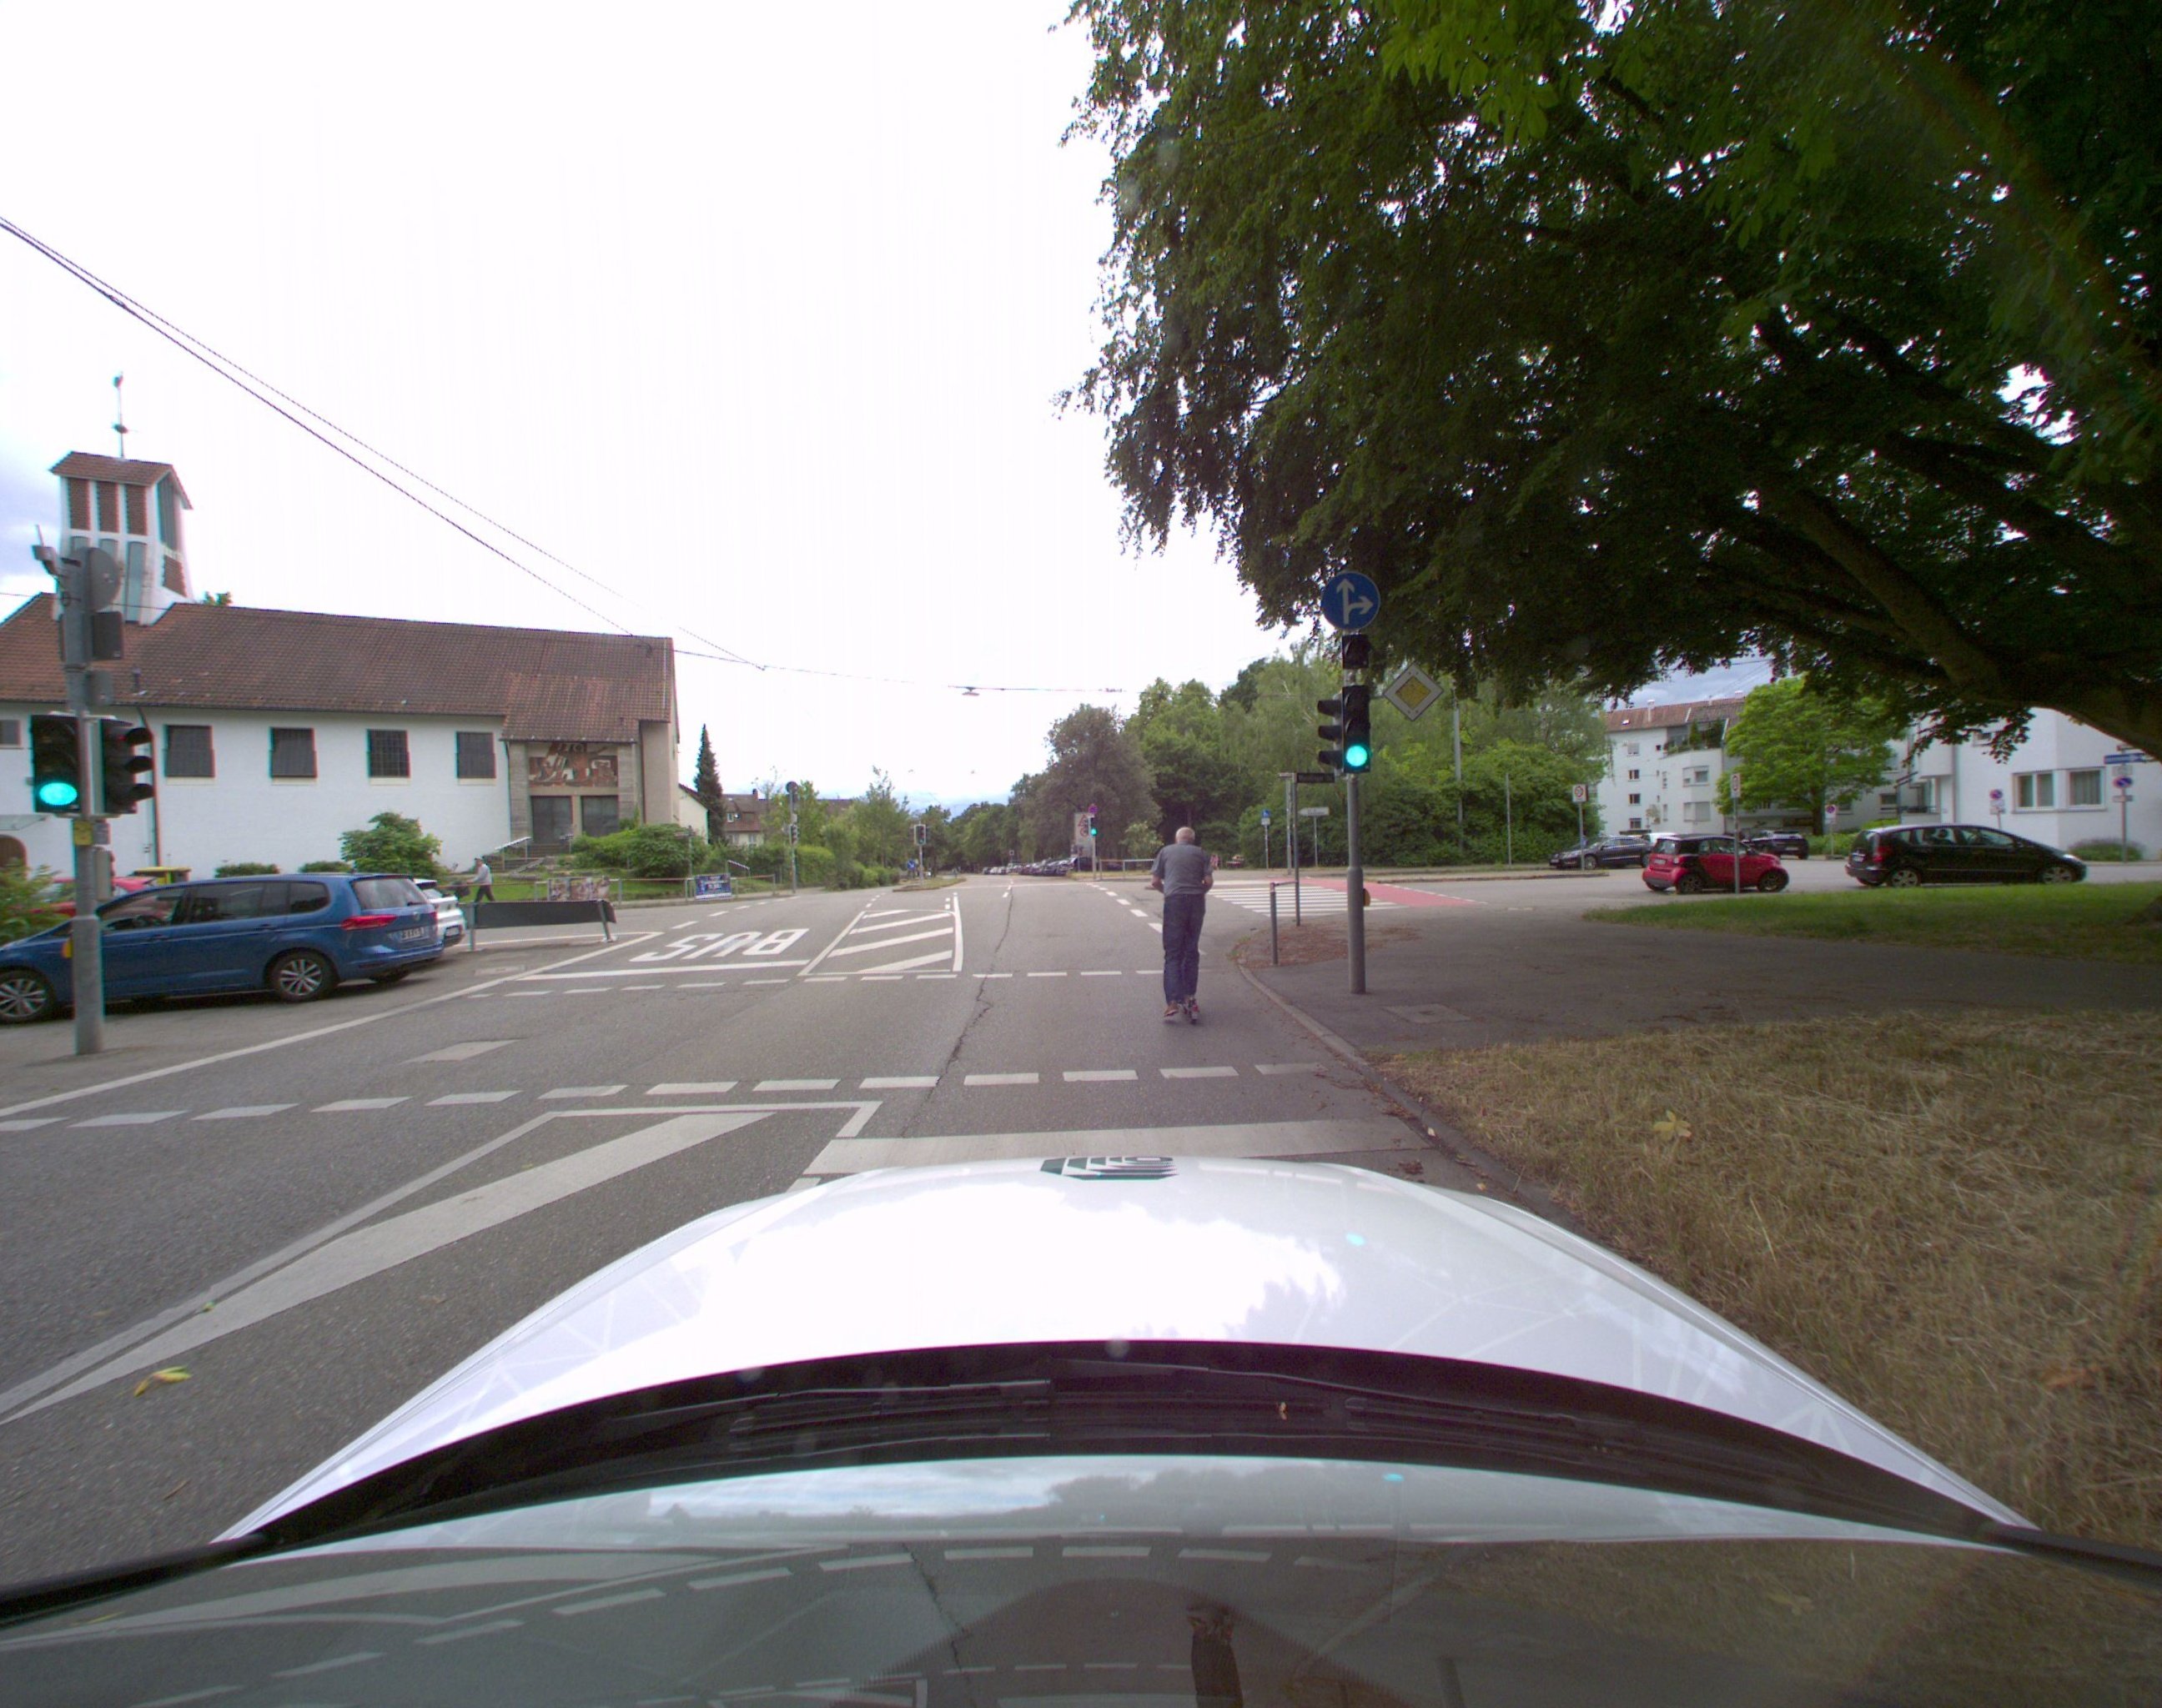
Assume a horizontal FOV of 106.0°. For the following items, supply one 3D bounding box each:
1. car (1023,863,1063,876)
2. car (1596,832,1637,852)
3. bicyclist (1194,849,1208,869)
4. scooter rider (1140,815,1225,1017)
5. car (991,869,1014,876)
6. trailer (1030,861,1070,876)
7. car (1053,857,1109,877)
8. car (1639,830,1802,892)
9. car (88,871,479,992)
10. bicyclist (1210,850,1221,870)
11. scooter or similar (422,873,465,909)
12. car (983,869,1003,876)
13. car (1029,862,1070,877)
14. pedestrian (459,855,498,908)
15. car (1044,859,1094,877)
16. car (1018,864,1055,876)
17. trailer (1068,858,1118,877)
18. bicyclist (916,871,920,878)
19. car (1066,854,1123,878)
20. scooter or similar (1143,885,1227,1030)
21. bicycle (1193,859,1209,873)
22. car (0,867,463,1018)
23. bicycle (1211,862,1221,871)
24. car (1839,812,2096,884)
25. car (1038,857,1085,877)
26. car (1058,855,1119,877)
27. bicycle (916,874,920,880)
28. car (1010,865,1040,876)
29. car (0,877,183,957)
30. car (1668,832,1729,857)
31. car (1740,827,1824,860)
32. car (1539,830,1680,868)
[{"bbox_3d":[-4.472,1.832,95.817,4.363,1.445,1.621,-1,-1,-23],"label":"car"},{"bbox_3d":[45.424,-1.014,69.155,1.913,1.545,4.083,-2,-1,19],"label":"car"},{"bbox_3d":[7.222,0.276,49.044,0.638,1.161,0.803,-2,2,-1],"label":"bicyclist"},{"bbox_3d":[0.922,0.526,7.631,0.678,1.730,1.198,-2,1,4],"label":"scooter rider"},{"bbox_3d":[-15.054,3.518,156.018,3.912,1.309,1.725,-1,-2,-33],"label":"car"},{"bbox_3d":[-3.179,1.487,83.332,3.701,1.535,1.635,-1,-1,-20],"label":"trailer"},{"bbox_3d":[0.010,1.038,66.538,4.230,1.464,1.625,-1,-1,-18],"label":"car"},{"bbox_3d":[16.551,0.161,21.196,2.896,1.506,1.699,-1,1,6],"label":"car"},{"bbox_3d":[-12.177,1.108,12.796,3.902,1.472,1.835,-2,1,-17],"label":"car"},{"bbox_3d":[8.393,0.393,50.756,0.515,1.187,0.969,-3,-2,5],"label":"bicyclist"},{"bbox_3d":[-19.569,1.123,24.989,0.604,1.095,0.895,-2,-2,36],"label":"scooter or similar"},{"bbox_3d":[-18.819,3.954,173.943,3.907,1.429,1.727,-1,-2,-29],"label":"car"},{"bbox_3d":[-3.327,1.631,85.583,4.047,1.327,1.550,-1,-2,-18],"label":"car"},{"bbox_3d":[-19.017,0.857,25.711,0.680,1.653,0.836,-2,-2,37],"label":"pedestrian"},{"bbox_3d":[-1.125,1.264,73.315,4.173,1.407,1.686,-1,-2,-20],"label":"car"},{"bbox_3d":[-5.516,2.029,101.158,4.330,1.341,1.720,-1,-2,-23],"label":"car"},{"bbox_3d":[0.888,1.005,61.736,3.411,1.267,1.606,-2,-2,-18],"label":"trailer"},{"bbox_3d":[-35.646,4.478,178.266,0.844,1.697,0.711,-2,-1,-9],"label":"bicyclist"},{"bbox_3d":[0.926,0.817,56.242,3.717,1.476,1.570,-1,-1,-11],"label":"car"},{"bbox_3d":[0.943,0.914,7.662,0.678,1.139,1.462,-2,1,4],"label":"scooter or similar"},{"bbox_3d":[7.235,0.720,49.080,0.637,0.758,1.680,-2,2,-1],"label":"bicycle"},{"bbox_3d":[-11.002,1.048,10.671,4.168,1.547,1.838,-2,1,-12],"label":"car"},{"bbox_3d":[8.404,0.772,50.745,0.515,0.497,0.989,-3,-2,5],"label":"bicycle"},{"bbox_3d":[21.109,-0.101,19.634,3.778,1.591,1.829,-1,0,27],"label":"car"},{"bbox_3d":[-1.834,1.186,75.885,3.996,1.725,1.670,-1,-2,-18],"label":"car"},{"bbox_3d":[0.529,0.864,58.806,4.148,1.476,1.566,-1,-1,-19],"label":"car"},{"bbox_3d":[-35.619,4.970,178.207,0.845,1.266,2.643,-2,-1,-9],"label":"bicycle"},{"bbox_3d":[-8.137,2.425,118.957,3.982,1.405,1.743,-1,-2,-24],"label":"car"},{"bbox_3d":[-22.372,1.349,17.703,1.753,1.489,3.707,-1,1,44],"label":"car"},{"bbox_3d":[39.821,-0.593,52.604,1.913,1.545,4.083,-2,-1,19],"label":"car"},{"bbox_3d":[36.488,-0.520,42.540,1.913,1.545,4.083,-2,-1,19],"label":"car"},{"bbox_3d":[22.327,-0.212,34.527,4.775,1.439,2.036,-2,0,-4],"label":"car"}]
